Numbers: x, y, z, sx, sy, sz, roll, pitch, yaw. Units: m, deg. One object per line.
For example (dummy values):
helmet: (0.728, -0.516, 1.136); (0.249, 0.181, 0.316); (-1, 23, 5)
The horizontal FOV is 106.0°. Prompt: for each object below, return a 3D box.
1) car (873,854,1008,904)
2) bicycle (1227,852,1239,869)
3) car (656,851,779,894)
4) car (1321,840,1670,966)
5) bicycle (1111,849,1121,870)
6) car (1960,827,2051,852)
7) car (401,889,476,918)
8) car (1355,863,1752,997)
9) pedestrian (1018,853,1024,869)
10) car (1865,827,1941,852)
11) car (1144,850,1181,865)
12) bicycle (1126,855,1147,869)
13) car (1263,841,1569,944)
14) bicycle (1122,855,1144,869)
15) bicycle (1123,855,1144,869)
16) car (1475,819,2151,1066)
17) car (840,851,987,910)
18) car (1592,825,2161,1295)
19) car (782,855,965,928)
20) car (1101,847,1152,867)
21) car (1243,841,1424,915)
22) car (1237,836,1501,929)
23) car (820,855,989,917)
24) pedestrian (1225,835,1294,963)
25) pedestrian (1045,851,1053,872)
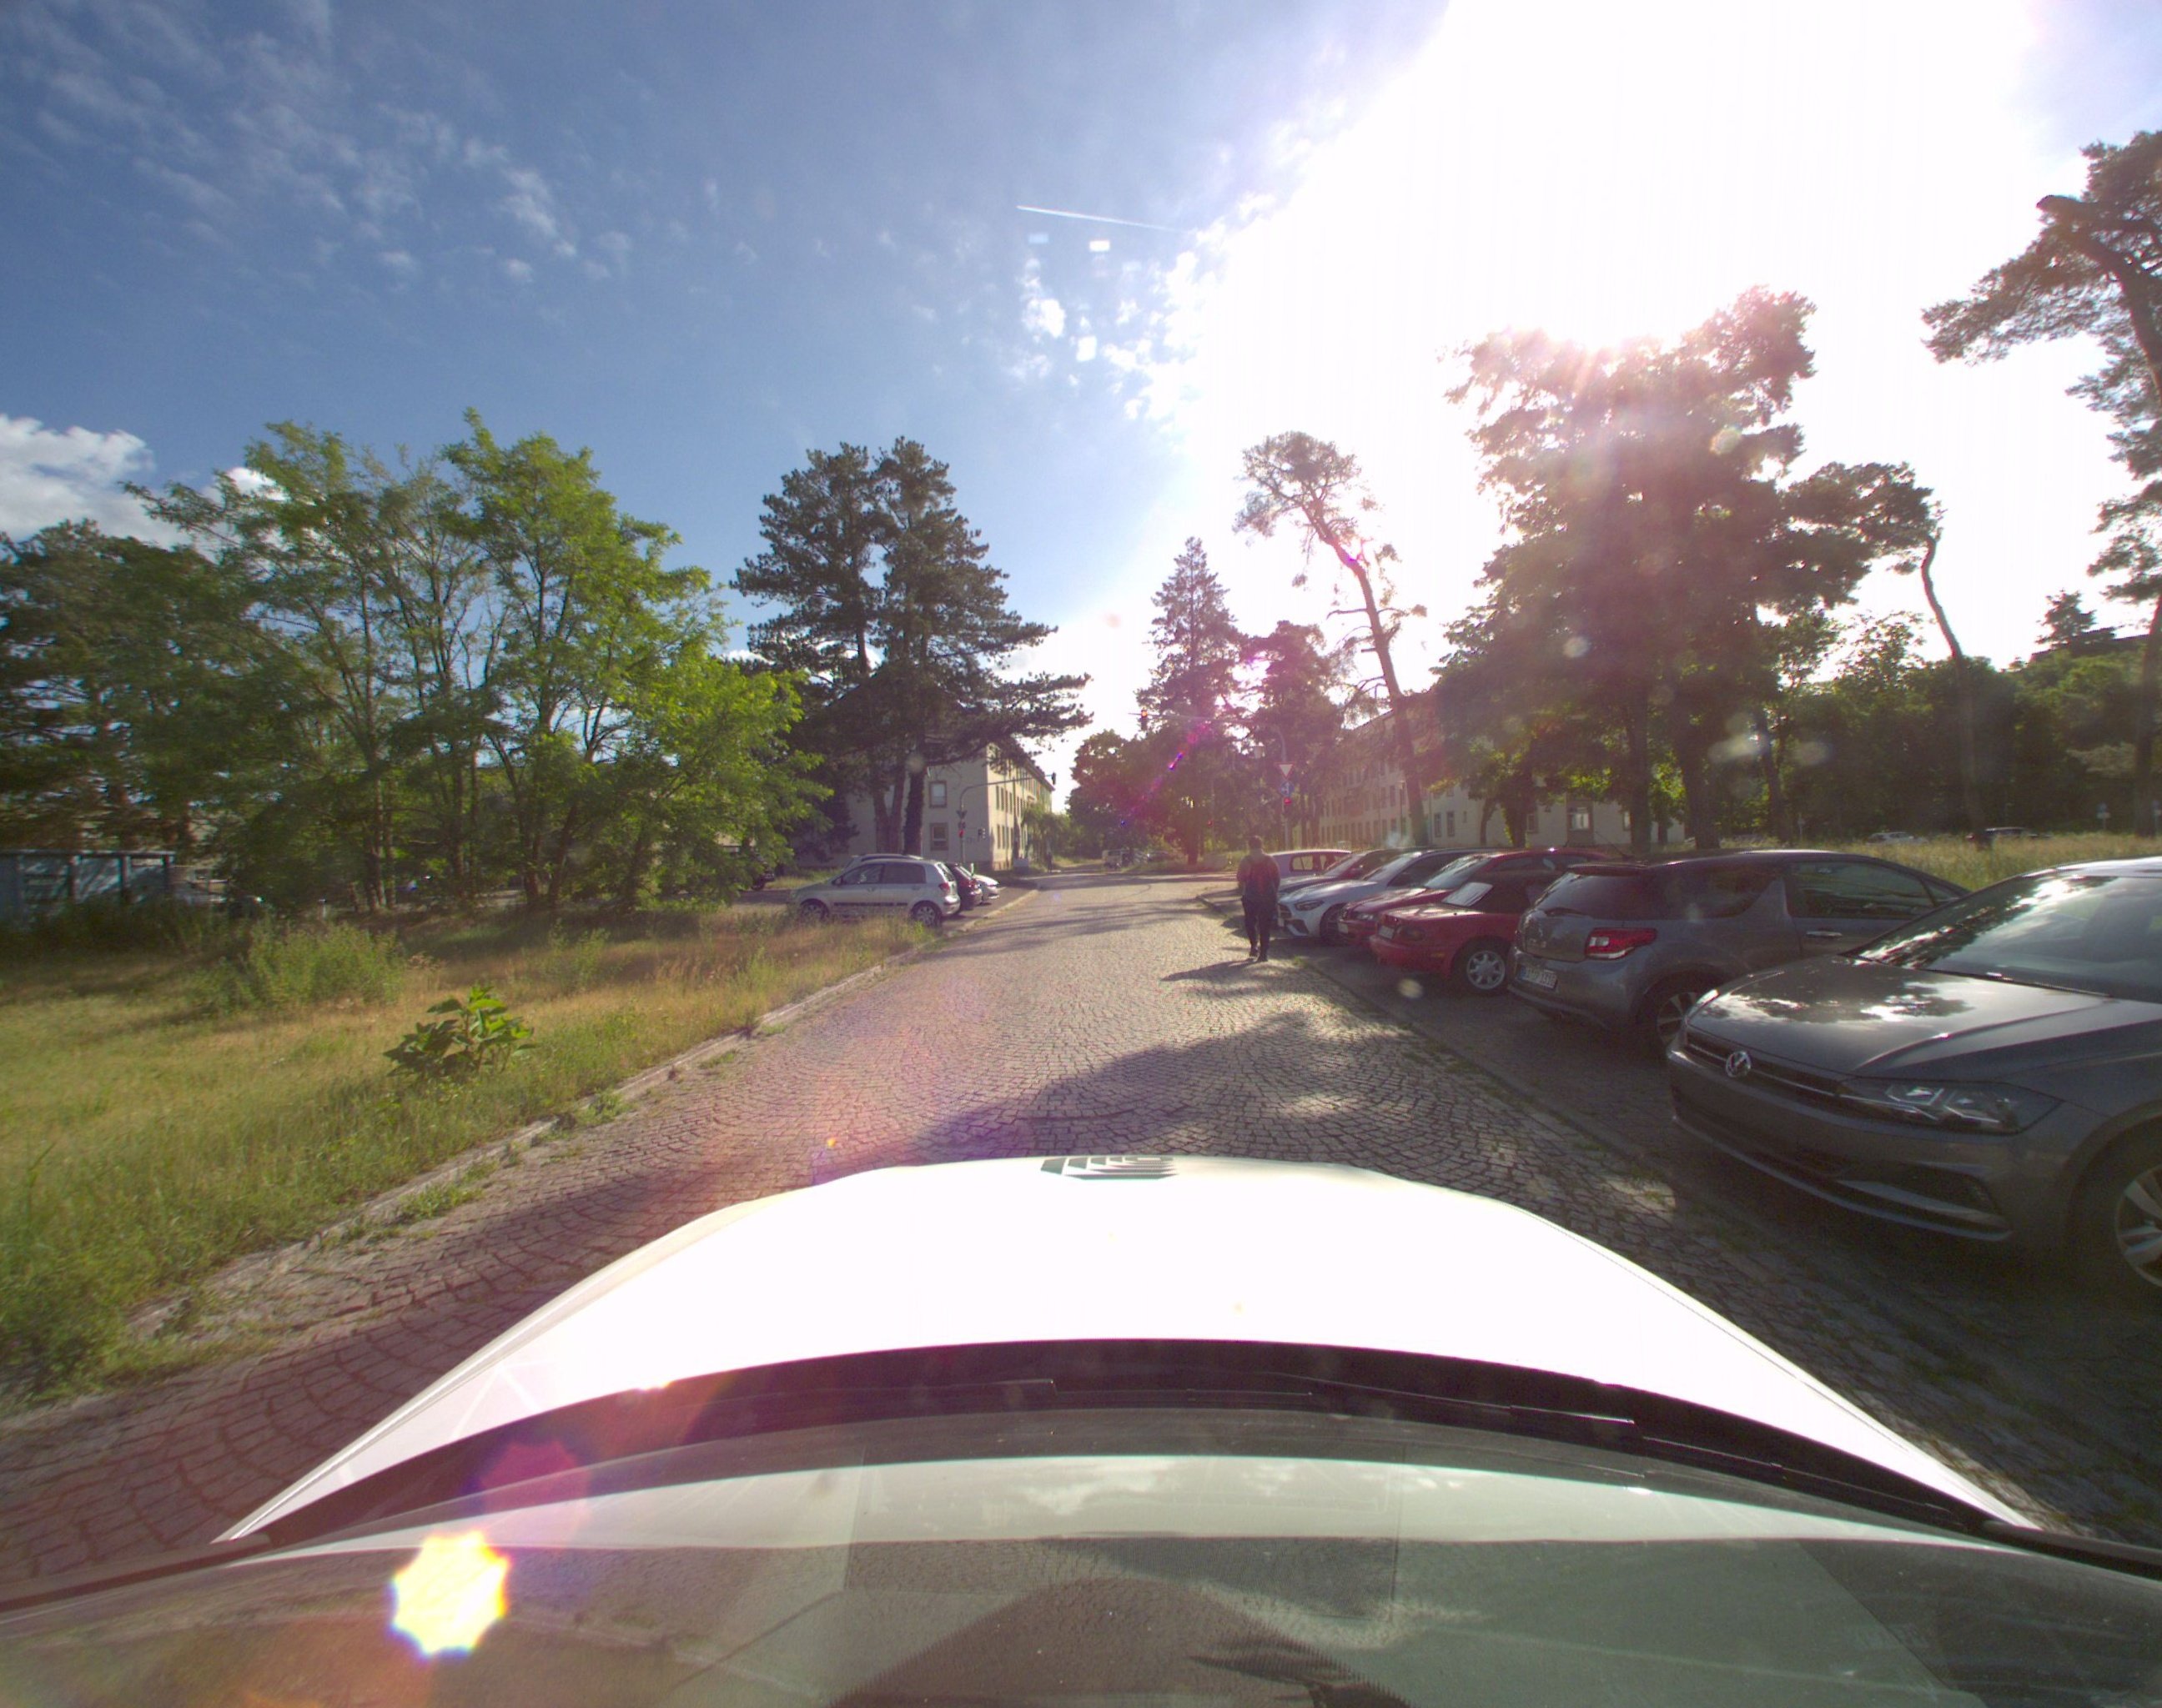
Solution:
car: (-4.525, 0.792, 26.511); (3.966, 1.496, 1.776); (1, 0, 6)
bicycle: (10.407, 0.457, 55.845); (0.717, 1.115, 2.592); (-2, 0, 12)
car: (-15.123, 0.758, 34.036); (4.126, 1.608, 2.011); (-2, 0, 3)
car: (5.571, 0.633, 11.304); (3.964, 1.448, 1.656); (-2, 0, 1)
bicycle: (2.759, 0.419, 64.534); (0.750, 1.580, 2.538); (-1, 0, 2)
car: (59.040, -0.919, 52.071); (3.619, 1.497, 1.769); (-2, 0, 4)
car: (-45.591, 3.490, 57.894); (1.856, 1.778, 4.008); (-2, 0, 5)
car: (4.975, 0.776, 8.931); (3.446, 1.242, 1.537); (-1, 0, 2)
pedestrian: (-6.047, 0.706, 82.245); (0.605, 1.560, 0.544); (-1, 0, -4)
car: (60.097, -1.024, 59.575); (3.619, 1.671, 1.769); (-2, 0, 4)
car: (8.981, 0.373, 89.648); (3.738, 1.580, 1.738); (-1, 0, -5)
bicycle: (4.679, 0.658, 69.163); (1.722, 1.164, 0.561); (-2, 0, -2)
car: (5.458, 0.599, 13.685); (4.383, 1.388, 1.789); (-3, 0, 1)
bicycle: (4.326, 0.704, 67.947); (1.829, 1.112, 0.495); (-2, 0, -2)
bicycle: (4.416, 0.702, 68.489); (1.722, 1.112, 0.484); (-2, 0, -2)
car: (5.306, 0.602, 6.314); (3.649, 1.455, 1.667); (-3, 0, 2)
car: (-4.817, 0.754, 23.772); (3.866, 1.615, 1.661); (1, 0, 1)
car: (4.637, 0.629, 3.461); (3.764, 1.450, 1.759); (-3, 0, 3)
car: (-4.583, 0.805, 18.385); (3.674, 1.527, 1.699); (1, 0, -1)
car: (4.818, 0.341, 85.854); (5.062, 1.918, 1.995); (-2, 0, -8)
car: (5.754, 0.541, 18.905); (3.659, 1.443, 1.666); (-3, 0, 2)
car: (5.637, 0.541, 16.368); (4.605, 1.455, 1.870); (-4, 0, 0)
car: (-4.483, 0.794, 21.049); (3.923, 1.445, 1.691); (2, 0, 1)
pedestrian: (2.535, 0.613, 11.639); (0.750, 1.725, 0.829); (3, 0, 2)
pedestrian: (-2.796, 0.648, 70.418); (0.604, 1.752, 0.630); (-1, 0, 1)
